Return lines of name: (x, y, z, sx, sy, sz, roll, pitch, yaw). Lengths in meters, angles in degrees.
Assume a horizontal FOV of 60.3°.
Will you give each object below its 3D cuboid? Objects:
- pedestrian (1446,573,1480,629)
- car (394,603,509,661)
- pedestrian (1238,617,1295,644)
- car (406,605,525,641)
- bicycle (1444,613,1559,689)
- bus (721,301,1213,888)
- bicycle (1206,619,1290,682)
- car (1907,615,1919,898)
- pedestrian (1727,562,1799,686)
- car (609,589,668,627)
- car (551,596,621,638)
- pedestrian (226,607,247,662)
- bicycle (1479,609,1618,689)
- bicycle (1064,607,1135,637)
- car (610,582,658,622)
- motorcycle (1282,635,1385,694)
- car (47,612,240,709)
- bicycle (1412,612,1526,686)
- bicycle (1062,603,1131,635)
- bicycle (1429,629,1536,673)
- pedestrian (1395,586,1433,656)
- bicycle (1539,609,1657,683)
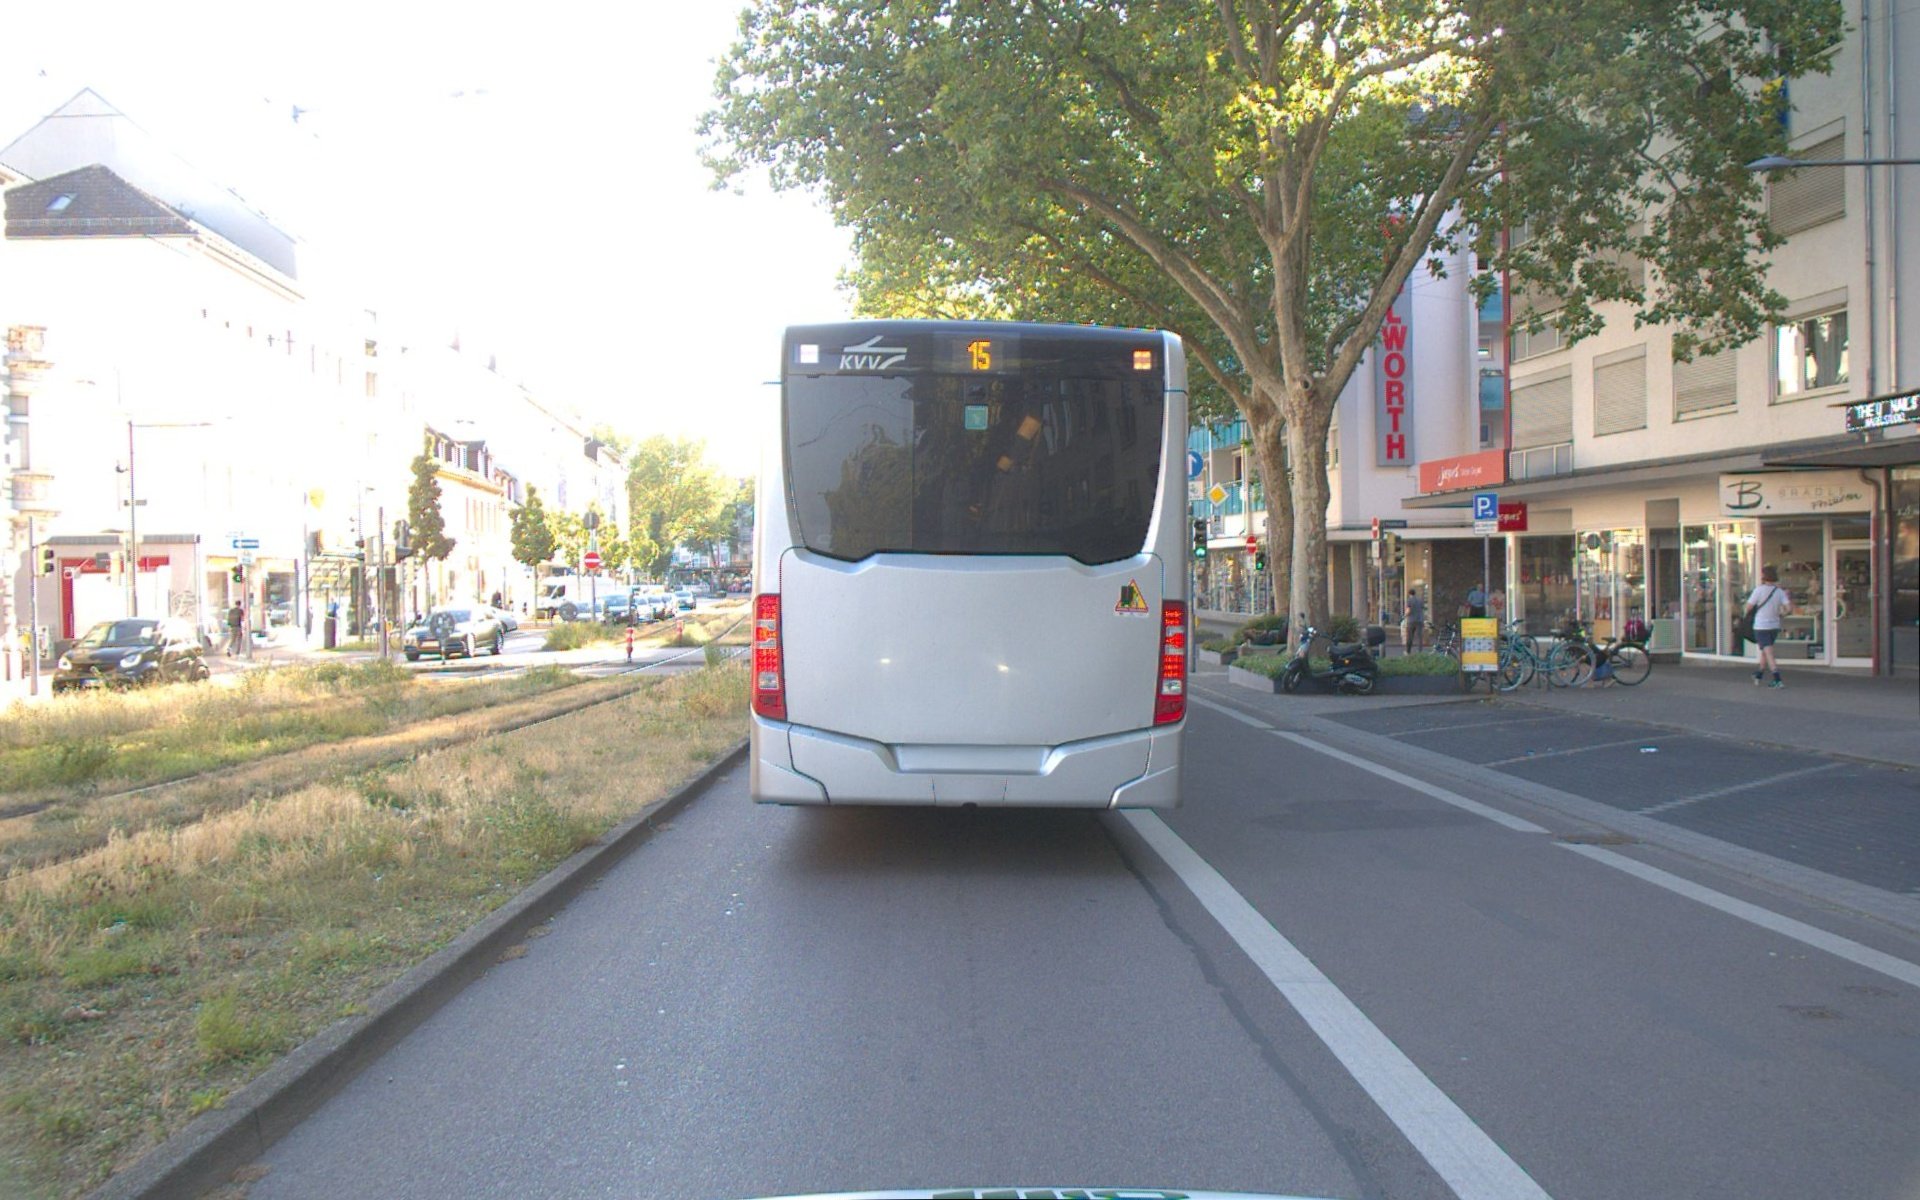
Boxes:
pedestrian: (15.931, 0.028, 52.396, 0.733, 1.708, 0.834, -1, 2, -7)
car: (-14.949, 0.909, 48.933, 1.953, 1.586, 4.774, -1, 0, -1)
pedestrian: (7.031, 0.703, 37.952, 1.229, 0.599, 0.482, 0, 0, -3)
car: (-21.239, 0.971, 71.080, 4.504, 1.437, 1.974, -1, 0, -37)
bicycle: (9.589, 0.894, 29.303, 1.753, 1.210, 0.671, -4, -1, -9)
bus: (0.059, -0.051, 12.441, 2.623, 3.137, 7.114, 0, 0, 0)
bicycle: (5.503, 0.962, 31.646, 1.478, 1.124, 0.460, 3, 0, 0)
car: (7.123, 0.779, 9.261, 4.136, 1.477, 1.784, -1, 0, -39)
pedestrian: (12.643, 0.365, 26.055, 0.632, 1.909, 0.821, -1, 0, -14)
car: (-14.704, 0.347, 75.851, 1.744, 1.643, 4.509, 0, 0, 1)
car: (-15.014, 0.660, 66.543, 1.744, 1.475, 4.045, -3, 1, 1)
pedestrian: (-23.248, 1.092, 53.123, 0.417, 1.743, 0.508, -1, 0, 3)
bicycle: (9.889, 0.816, 27.852, 2.037, 1.254, 0.832, -2, 0, 4)
bicycle: (4.759, 0.731, 56.469, 2.267, 0.956, 0.835, -1, 1, -9)
car: (-17.220, 0.116, 87.453, 1.954, 2.049, 3.997, -1, 0, -3)
motorcycle: (6.098, 1.043, 27.040, 1.539, 0.908, 0.544, -1, 0, -4)
car: (-14.747, 1.052, 30.066, 1.687, 1.535, 3.476, -3, 0, 0)
bicycle: (9.313, 0.888, 30.309, 1.836, 1.210, 0.712, -4, -1, 8)
bicycle: (4.746, 0.660, 57.622, 2.267, 1.046, 0.835, -1, 1, -9)
bicycle: (9.891, 0.969, 31.367, 1.836, 0.779, 0.712, -1, 0, 8)
pedestrian: (11.990, 0.546, 43.675, 0.764, 1.825, 0.764, -1, 0, -1)
bicycle: (10.881, 0.779, 28.242, 1.726, 1.174, 0.679, -2, 0, 8)
